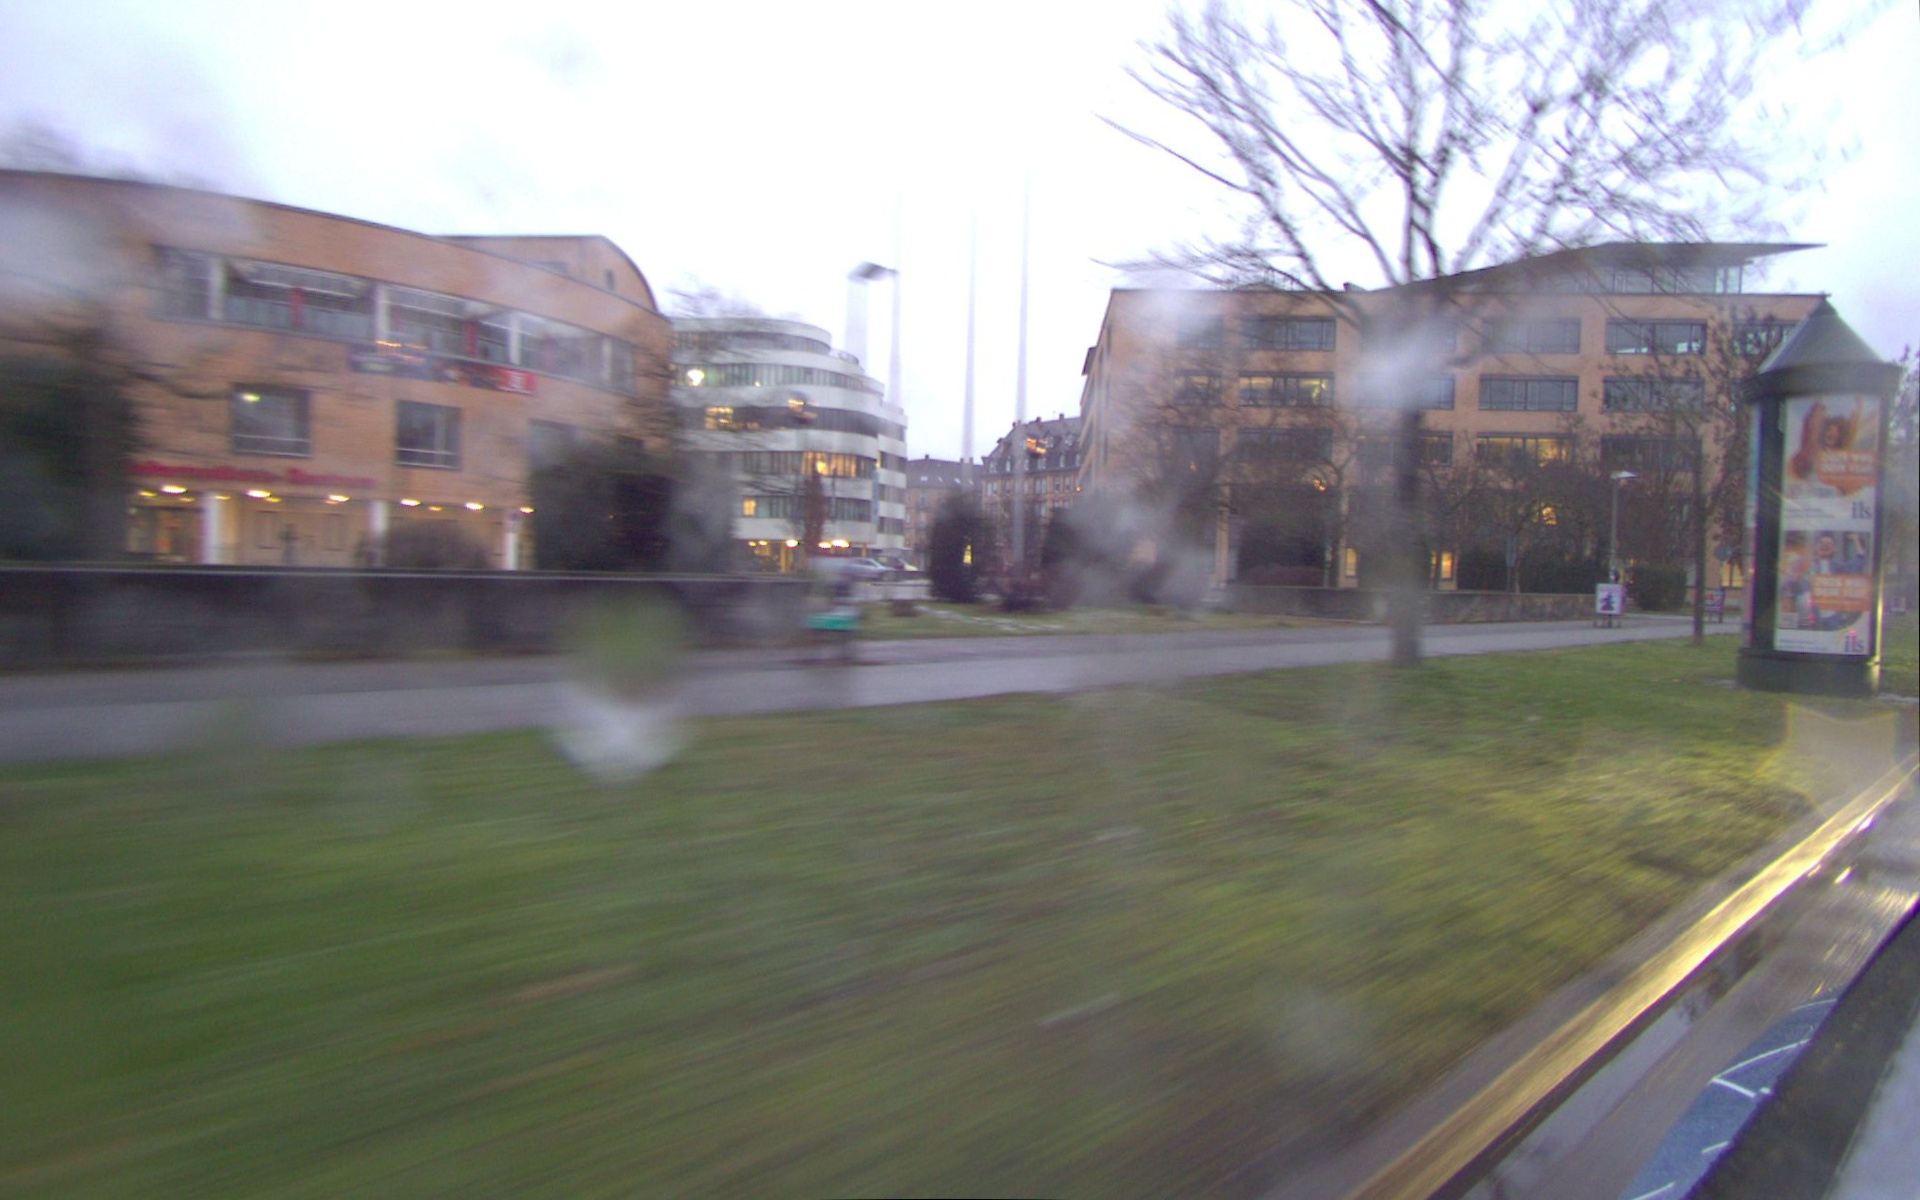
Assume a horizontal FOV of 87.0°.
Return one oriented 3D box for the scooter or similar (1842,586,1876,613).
[{"bbox_3d":[43.201,-0.036,48.635,1.137,1.247,0.482,3,2,34],"label":"scooter or similar"}]
